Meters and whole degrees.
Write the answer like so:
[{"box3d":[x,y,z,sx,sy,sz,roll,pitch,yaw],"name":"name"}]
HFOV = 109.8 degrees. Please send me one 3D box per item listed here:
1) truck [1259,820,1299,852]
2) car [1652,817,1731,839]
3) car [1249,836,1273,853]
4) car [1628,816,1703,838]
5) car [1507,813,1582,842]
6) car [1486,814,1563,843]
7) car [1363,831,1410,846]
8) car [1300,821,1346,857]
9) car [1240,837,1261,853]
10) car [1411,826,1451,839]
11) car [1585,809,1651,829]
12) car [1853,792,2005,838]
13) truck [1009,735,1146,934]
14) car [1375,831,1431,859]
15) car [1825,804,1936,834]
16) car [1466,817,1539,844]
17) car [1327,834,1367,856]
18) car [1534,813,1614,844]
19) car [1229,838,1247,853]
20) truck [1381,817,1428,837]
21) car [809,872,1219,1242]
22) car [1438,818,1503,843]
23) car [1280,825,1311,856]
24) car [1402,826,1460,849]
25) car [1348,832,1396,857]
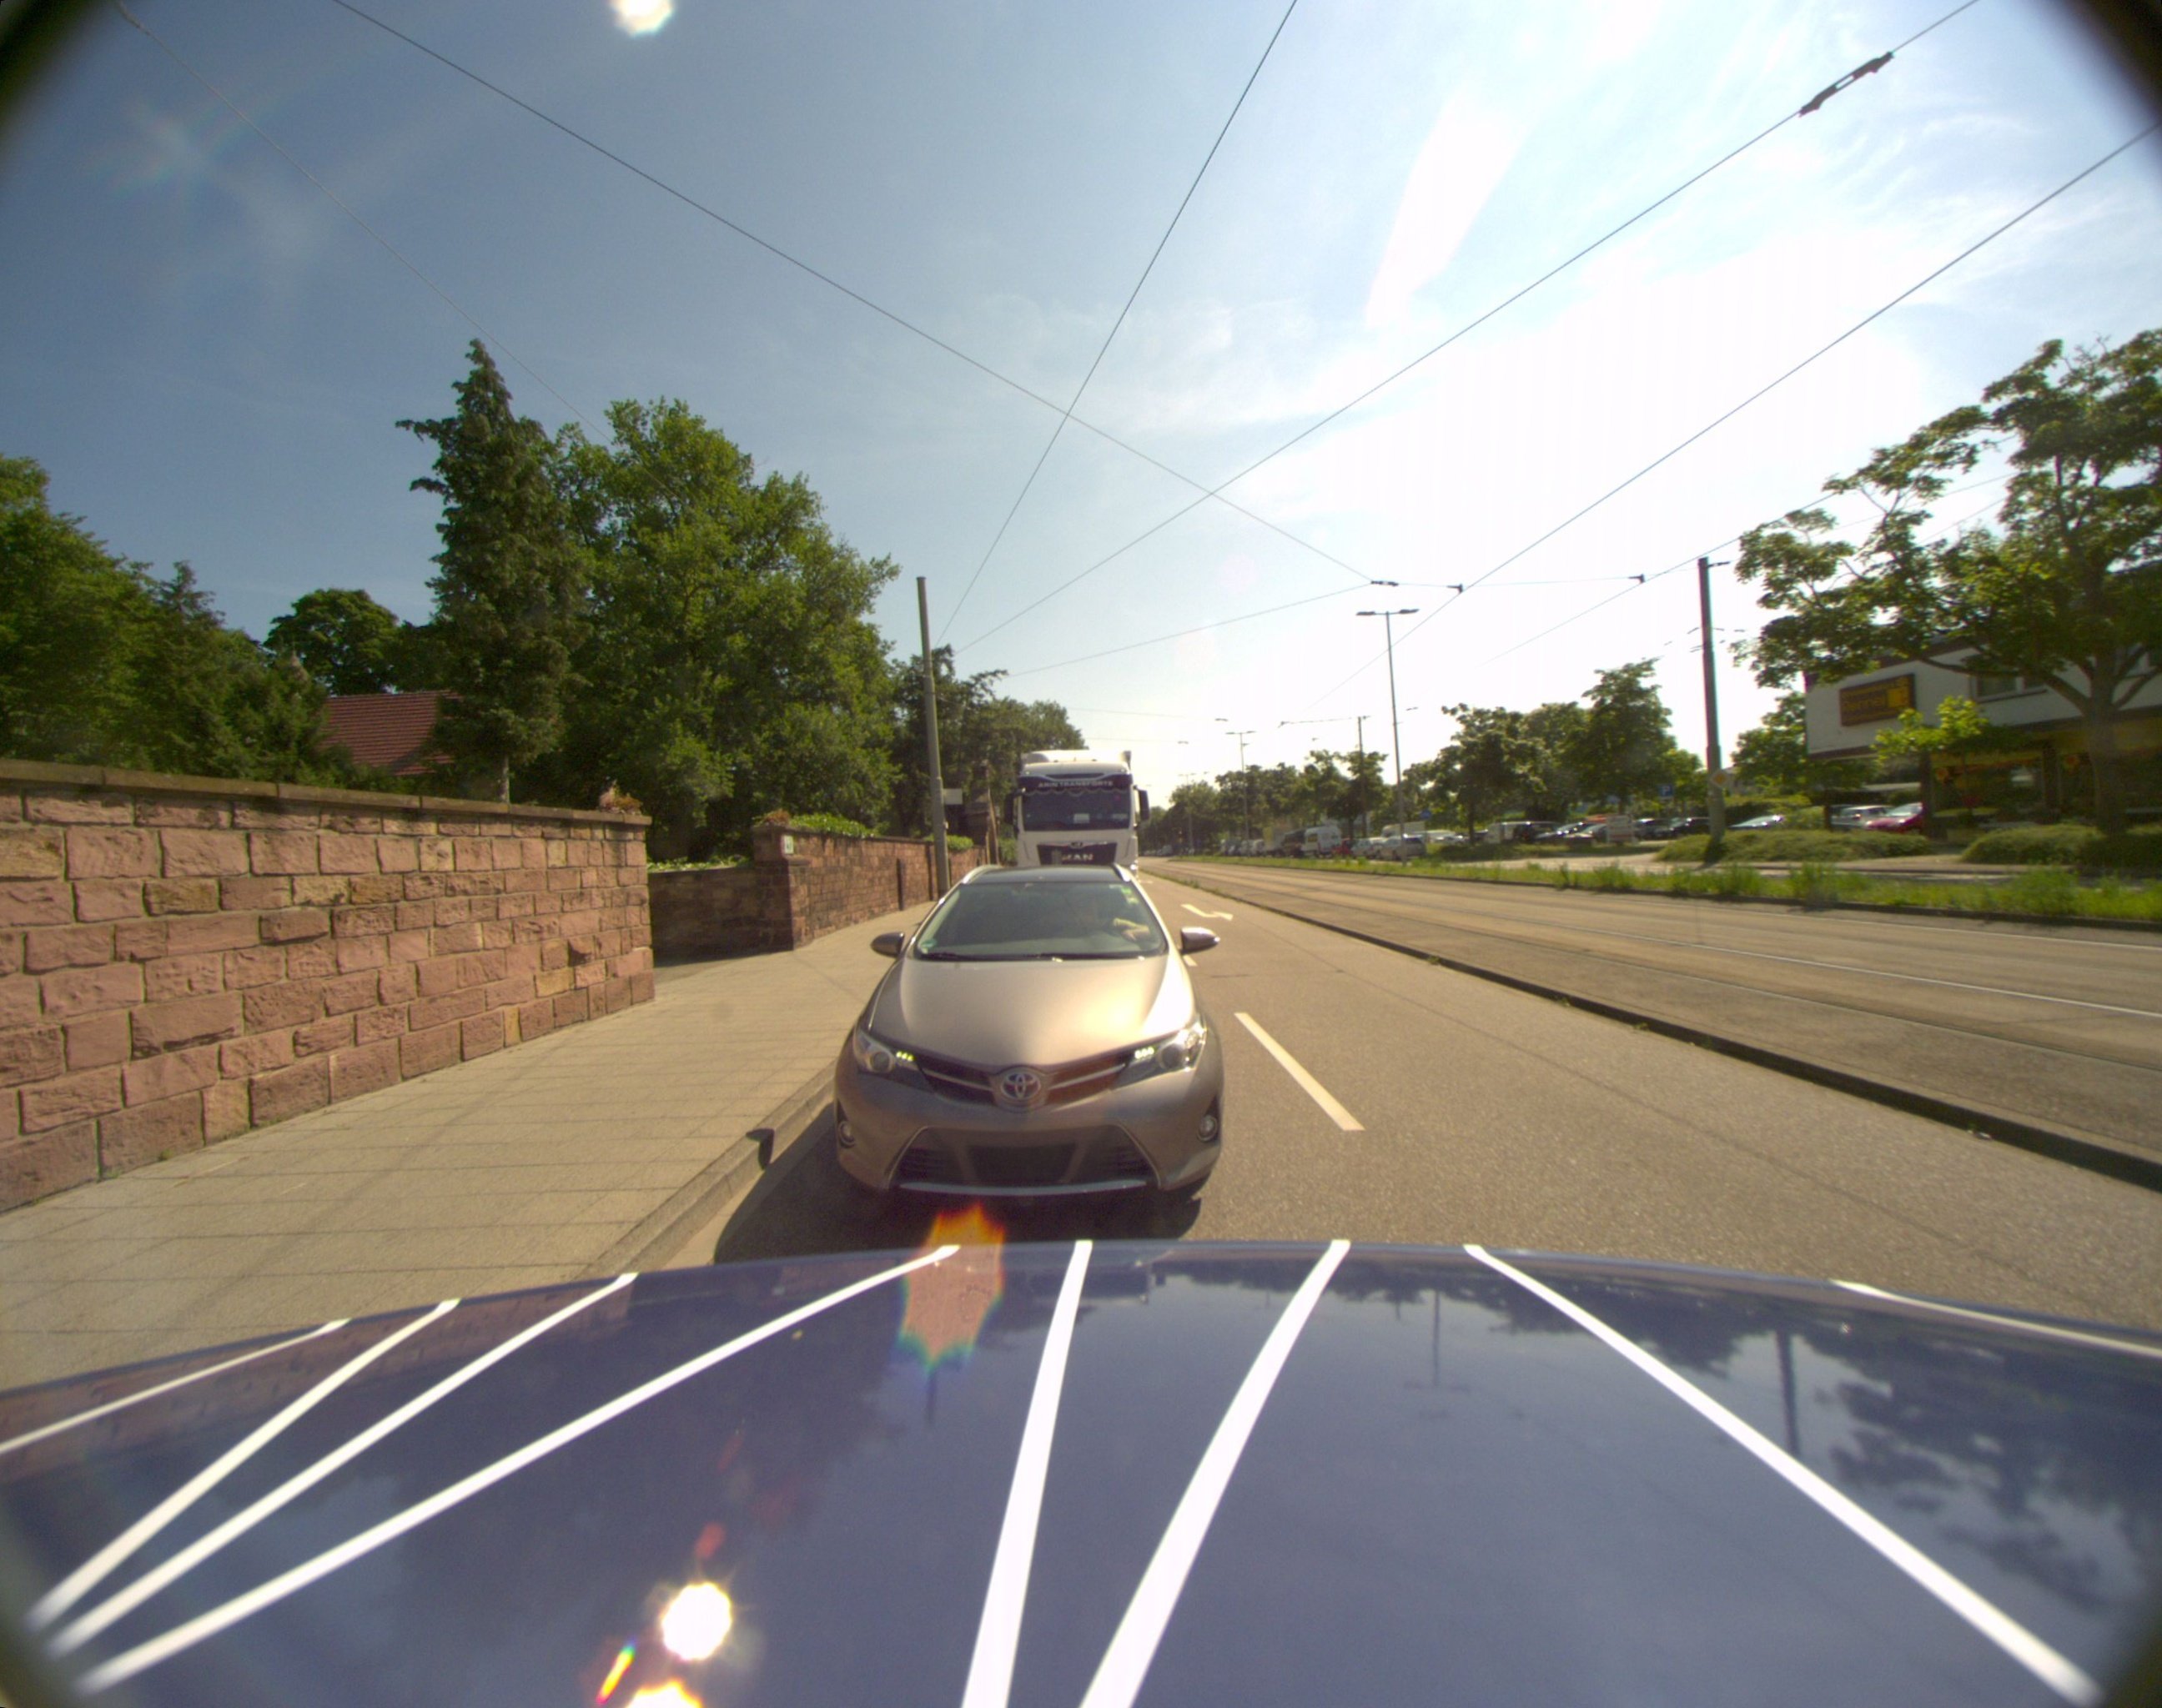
[{"box3d":[20.458,-1.795,78.847,2.508,2.917,5.903,-6,0,2],"name":"truck"},{"box3d":[44.071,-1.859,54.916,4.252,1.327,1.676,-3,0,2],"name":"car"},{"box3d":[20.665,-1.059,87.380,1.502,1.793,4.633,-6,0,1],"name":"car"},{"box3d":[44.137,-2.030,57.420,4.252,1.327,1.676,-3,0,2],"name":"car"},{"box3d":[30.587,-1.721,50.197,3.810,1.625,1.676,-3,1,2],"name":"car"},{"box3d":[30.701,-1.776,52.665,4.117,1.728,1.990,-3,1,-2],"name":"car"},{"box3d":[32.326,-1.602,80.393,4.253,1.327,1.676,-3,0,1],"name":"car"},{"box3d":[20.291,-1.232,63.987,2.062,2.638,5.203,-6,0,1],"name":"car"},{"box3d":[20.983,-1.114,94.218,1.502,1.835,4.059,-6,0,0],"name":"car"},{"box3d":[43.746,-2.633,95.034,4.253,1.327,1.676,-3,0,1],"name":"car"},{"box3d":[44.128,-2.860,62.511,4.254,1.327,1.676,-3,0,-1],"name":"car"},{"box3d":[35.267,-1.584,31.678,4.252,1.595,1.676,-3,1,2],"name":"car"},{"box3d":[0.028,-0.440,19.885,2.628,3.906,9.285,-2,1,1],"name":"truck"},{"box3d":[20.314,-0.554,48.124,1.675,1.524,4.256,-6,0,1],"name":"car"},{"box3d":[44.326,-1.916,42.190,4.252,1.327,1.676,-3,0,2],"name":"car"},{"box3d":[30.541,-1.689,55.135,4.117,1.728,1.990,-3,1,-2],"name":"car"},{"box3d":[20.483,-0.674,58.753,1.675,1.524,3.793,-6,0,1],"name":"car"},{"box3d":[30.522,-1.572,47.112,3.810,1.625,1.676,-3,1,2],"name":"car"},{"box3d":[20.634,-1.099,100.070,1.502,1.775,3.687,-6,0,0],"name":"car"},{"box3d":[44.772,-3.663,105.157,5.652,2.367,1.990,-3,1,-2],"name":"truck"},{"box3d":[-0.257,0.893,5.155,1.654,1.374,4.000,-2,0,1],"name":"car"},{"box3d":[31.238,-1.880,60.973,4.117,1.728,1.990,-3,1,-2],"name":"car"},{"box3d":[19.877,-1.216,70.470,1.502,2.609,4.007,-6,0,1],"name":"car"},{"box3d":[31.177,-1.408,67.876,2.594,1.800,5.741,-3,0,2],"name":"car"},{"box3d":[20.481,-0.635,53.614,1.675,1.524,4.256,-6,0,1],"name":"car"}]
